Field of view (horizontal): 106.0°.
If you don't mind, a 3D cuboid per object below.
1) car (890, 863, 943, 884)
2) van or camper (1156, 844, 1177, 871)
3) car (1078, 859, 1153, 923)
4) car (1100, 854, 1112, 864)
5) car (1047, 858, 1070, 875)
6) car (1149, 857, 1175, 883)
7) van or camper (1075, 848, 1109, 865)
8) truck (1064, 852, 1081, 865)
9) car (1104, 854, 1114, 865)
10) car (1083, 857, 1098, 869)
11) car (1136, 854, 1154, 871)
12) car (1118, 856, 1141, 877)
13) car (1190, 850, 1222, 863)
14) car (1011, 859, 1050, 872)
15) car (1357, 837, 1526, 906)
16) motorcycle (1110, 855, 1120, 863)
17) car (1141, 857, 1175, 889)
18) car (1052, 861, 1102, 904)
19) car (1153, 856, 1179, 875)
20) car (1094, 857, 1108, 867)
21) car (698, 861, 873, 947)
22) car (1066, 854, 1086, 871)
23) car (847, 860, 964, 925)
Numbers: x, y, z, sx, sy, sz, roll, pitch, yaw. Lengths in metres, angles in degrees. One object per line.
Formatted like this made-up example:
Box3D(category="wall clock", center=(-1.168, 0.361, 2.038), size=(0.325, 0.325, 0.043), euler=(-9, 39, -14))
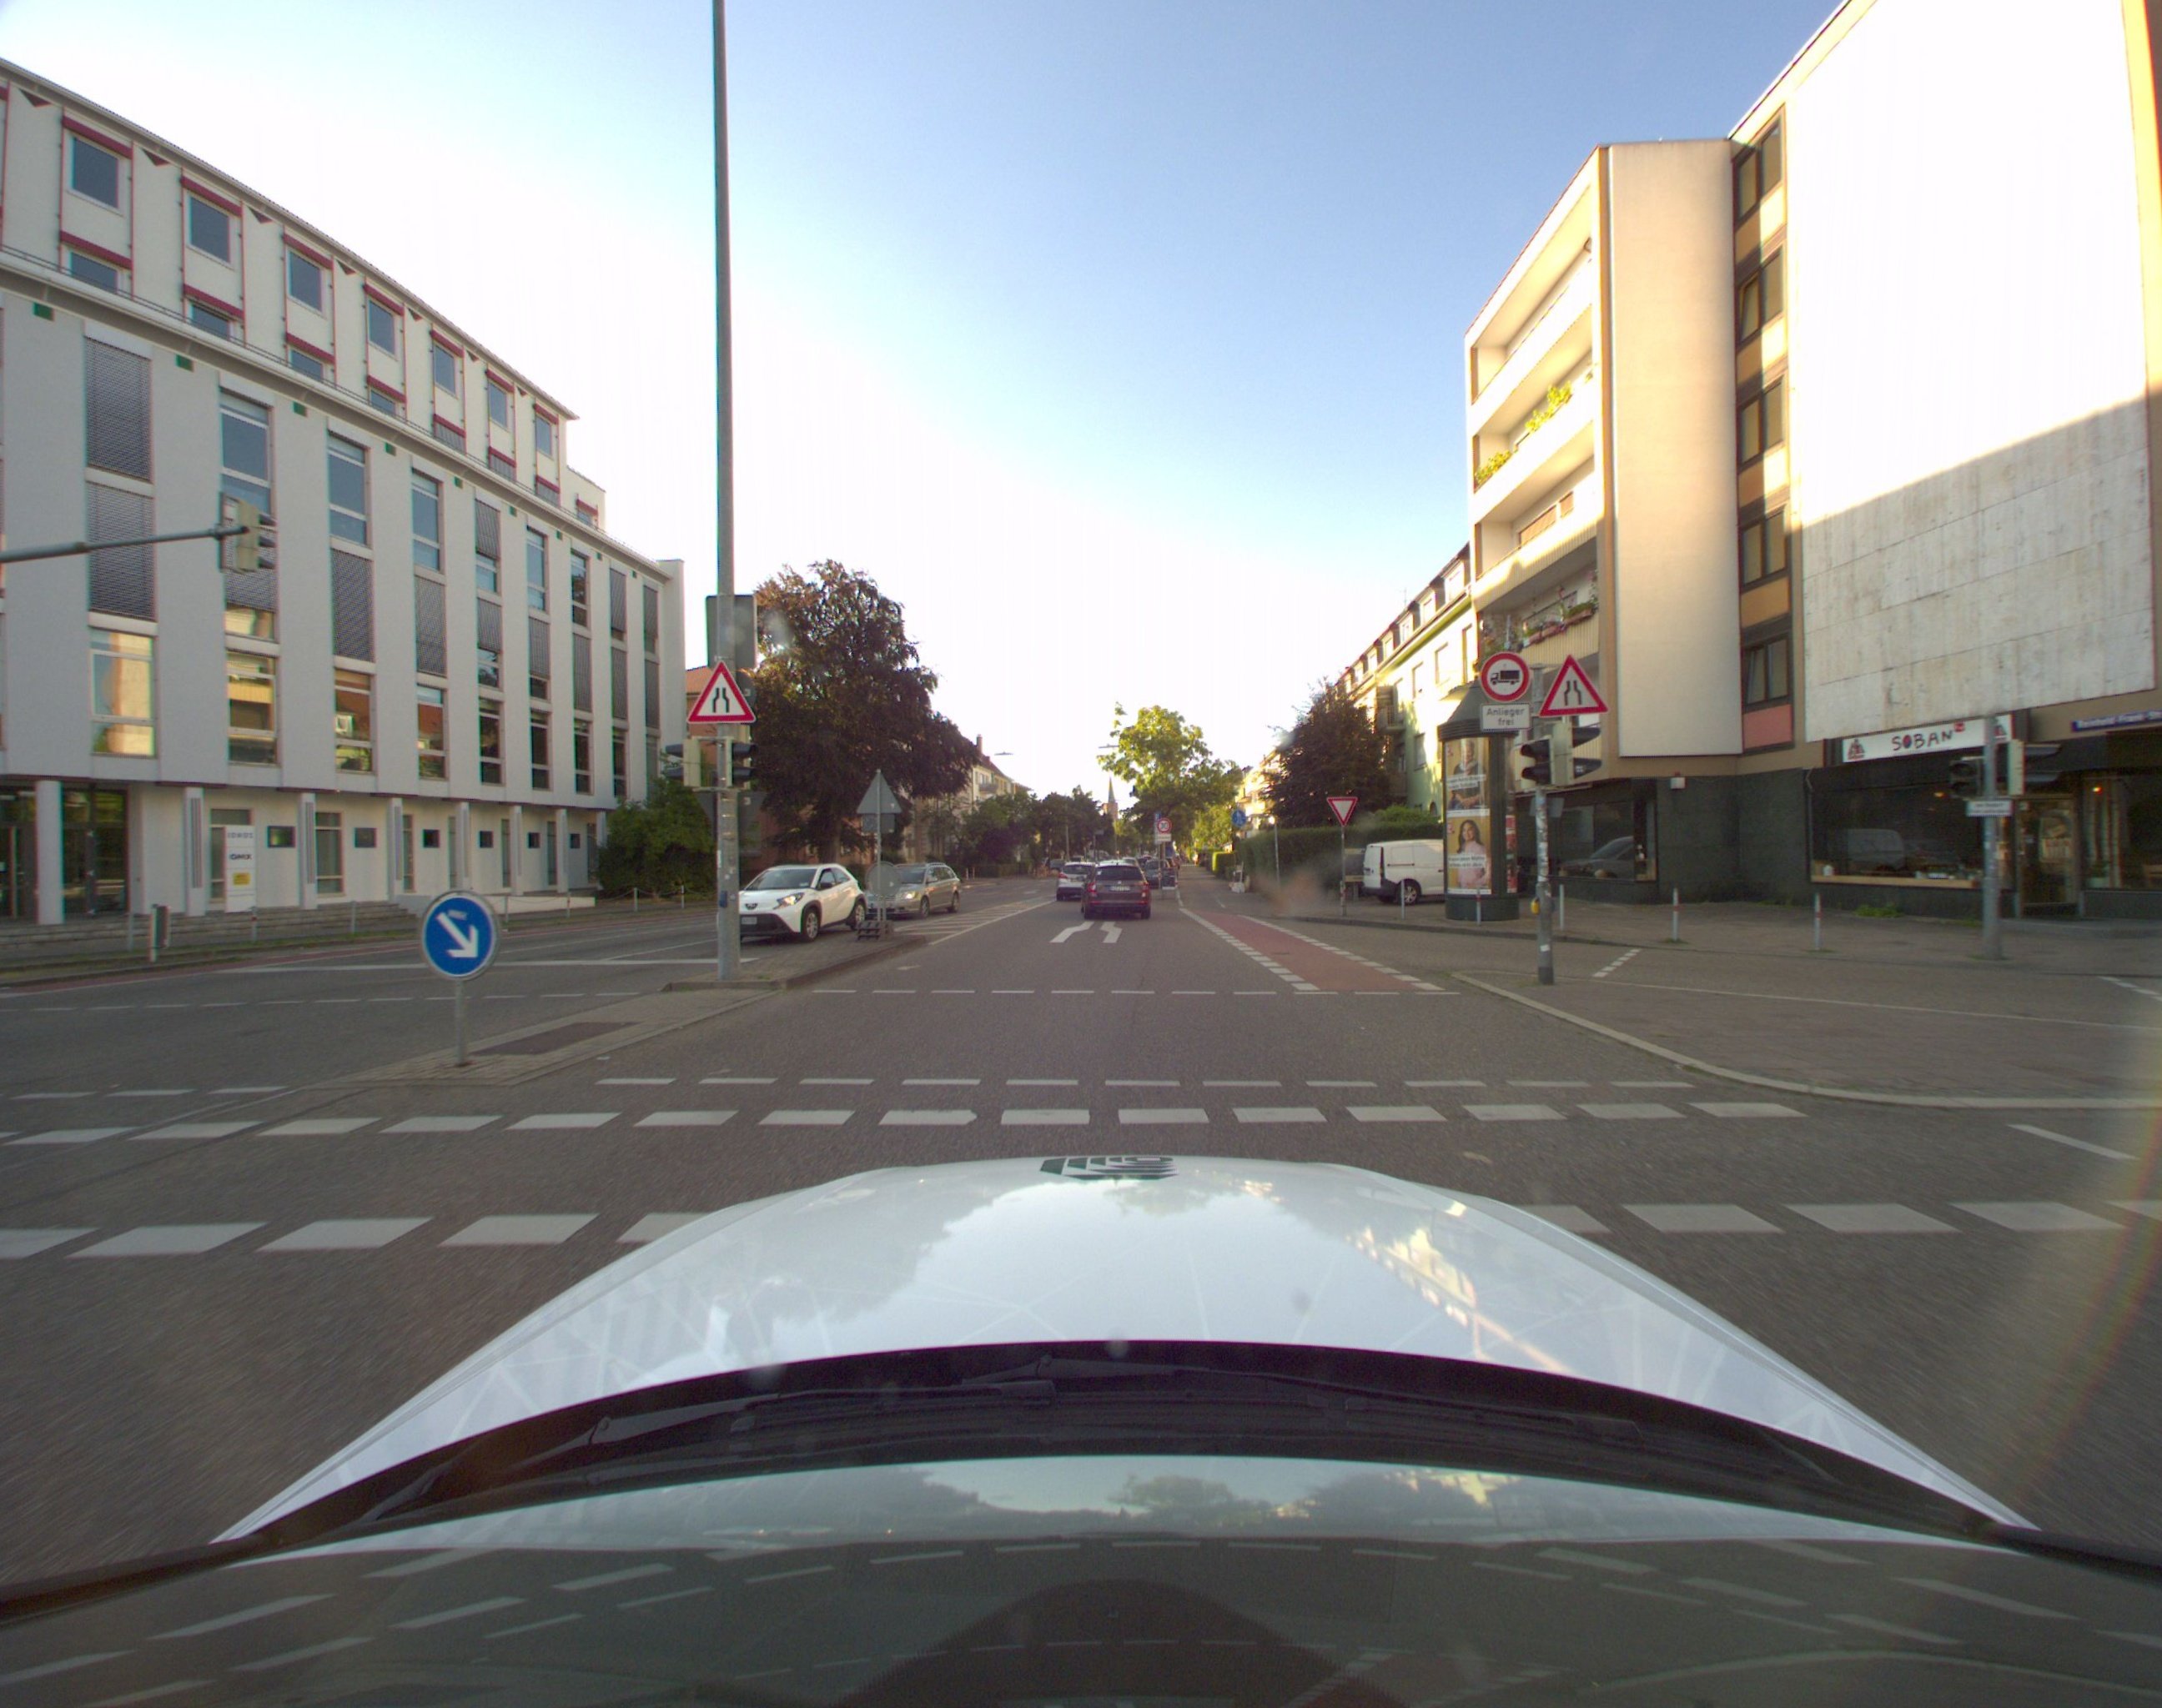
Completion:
Box3D(category="car", center=(-12.273, 1.455, 60.870), size=(3.483, 1.486, 1.817), euler=(-1, 0, 2))
Box3D(category="van or camper", center=(8.918, 0.366, 84.511), size=(2.057, 2.675, 6.000), euler=(-1, -1, 6))
Box3D(category="car", center=(0.850, 0.932, 22.162), size=(1.725, 1.493, 3.947), euler=(-1, 0, -2))
Box3D(category="car", center=(4.296, 0.826, 140.939), size=(1.741, 1.740, 3.597), euler=(-1, 0, 6))
Box3D(category="car", center=(-2.219, 1.236, 81.876), size=(1.741, 1.502, 4.204), euler=(-1, 0, 6))
Box3D(category="car", center=(5.762, 1.082, 57.529), size=(1.723, 1.651, 4.299), euler=(-1, 0, 6))
Box3D(category="van or camper", center=(2.617, 0.652, 192.658), size=(7.605, 3.874, 2.002), euler=(-1, 0, 4))
Box3D(category="truck", center=(-1.461, 0.794, 142.981), size=(2.899, 2.093, 1.548), euler=(-1, 0, 5))
Box3D(category="car", center=(5.091, 0.972, 145.557), size=(1.499, 1.757, 3.700), euler=(-1, 0, 6))
Box3D(category="car", center=(1.393, 1.255, 115.899), size=(1.708, 1.497, 4.255), euler=(-1, 0, 6))
Box3D(category="car", center=(6.783, 0.861, 86.120), size=(1.723, 1.651, 3.548), euler=(-1, 0, 6))
Box3D(category="car", center=(4.058, 1.006, 67.976), size=(1.723, 1.651, 3.548), euler=(-1, 0, 6))
Box3D(category="car", center=(19.828, 0.423, 129.270), size=(4.550, 1.892, 1.901), euler=(-1, 0, -22))
Box3D(category="car", center=(-6.181, 1.415, 99.437), size=(4.706, 1.362, 1.995), euler=(-1, 0, -7))
Box3D(category="car", center=(10.310, 0.482, 23.543), size=(4.070, 1.814, 1.863), euler=(-1, 0, 3))
Box3D(category="motorcycle", center=(6.437, 0.962, 155.852), size=(0.770, 1.512, 2.008), euler=(-1, 0, -36))
Box3D(category="car", center=(4.167, 0.981, 43.734), size=(1.723, 1.551, 3.653), euler=(-1, 0, 6))
Box3D(category="car", center=(-0.102, 1.061, 31.925), size=(1.722, 1.493, 3.953), euler=(-1, 0, 3))
Box3D(category="car", center=(7.073, 0.929, 67.900), size=(1.912, 1.486, 4.750), euler=(-1, 0, 3))
Box3D(category="car", center=(3.127, 1.190, 127.782), size=(1.745, 1.420, 4.434), euler=(-1, 0, 7))
Box3D(category="car", center=(-5.880, 0.935, 16.748), size=(1.818, 1.460, 3.909), euler=(-1, 0, 6))
Box3D(category="car", center=(-0.588, 1.025, 97.536), size=(1.761, 1.919, 4.468), euler=(-1, 0, 6))
Box3D(category="car", center=(-4.742, 0.984, 22.781), size=(1.818, 1.514, 4.612), euler=(-1, 0, 6))
